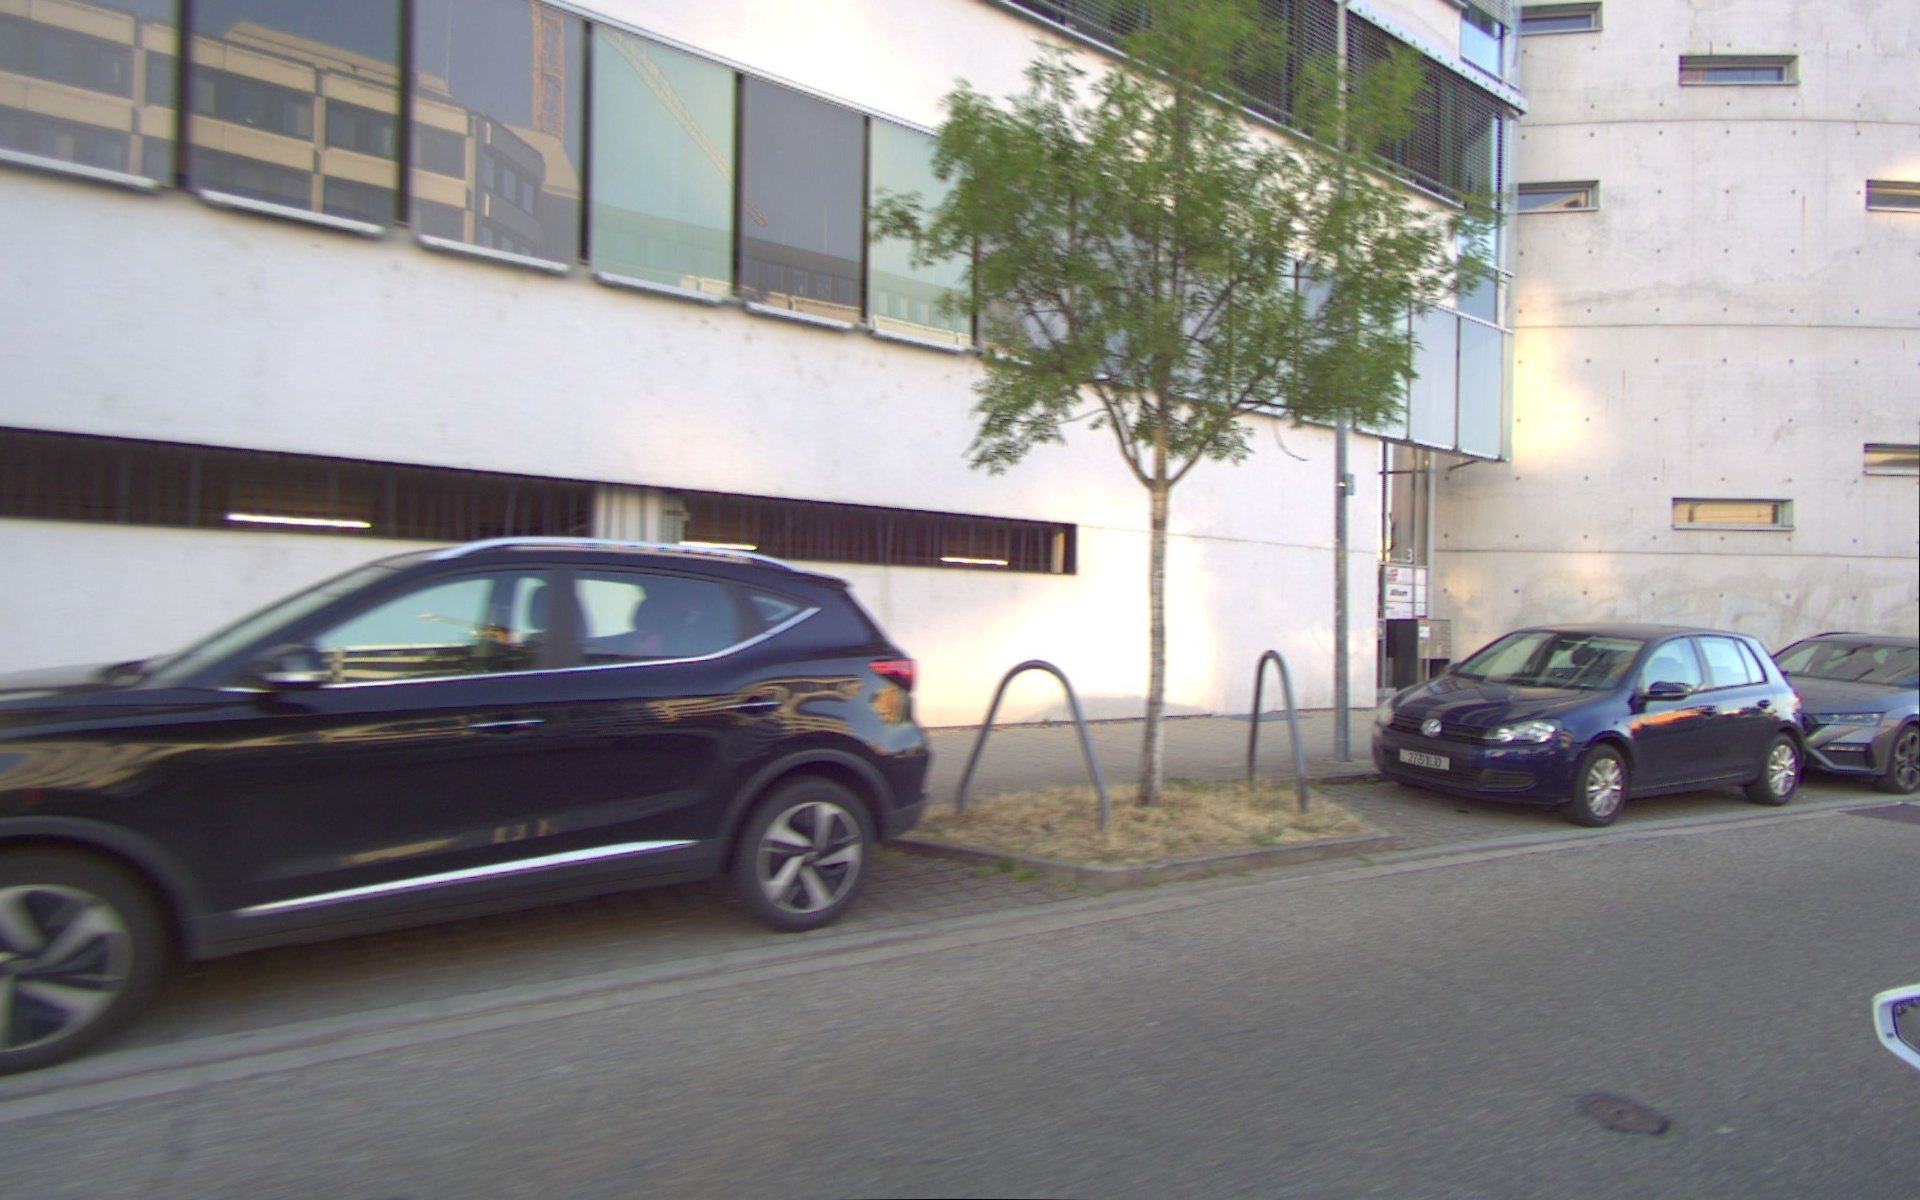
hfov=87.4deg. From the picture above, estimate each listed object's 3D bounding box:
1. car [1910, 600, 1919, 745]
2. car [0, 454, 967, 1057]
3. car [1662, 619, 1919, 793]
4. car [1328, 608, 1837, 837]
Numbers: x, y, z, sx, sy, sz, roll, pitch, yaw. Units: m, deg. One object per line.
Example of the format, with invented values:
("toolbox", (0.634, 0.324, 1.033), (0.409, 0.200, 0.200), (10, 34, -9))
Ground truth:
("car", (14.448, 0.989, 12.610), (4.393, 1.823, 1.755), (1, 1, -19))
("car", (-2.079, 0.431, 4.245), (3.908, 1.675, 1.744), (1, 1, -35))
("car", (9.820, 1.011, 10.646), (4.627, 1.477, 1.718), (1, 1, -24))
("car", (5.303, 0.870, 8.471), (4.217, 1.477, 1.716), (1, 1, -28))
